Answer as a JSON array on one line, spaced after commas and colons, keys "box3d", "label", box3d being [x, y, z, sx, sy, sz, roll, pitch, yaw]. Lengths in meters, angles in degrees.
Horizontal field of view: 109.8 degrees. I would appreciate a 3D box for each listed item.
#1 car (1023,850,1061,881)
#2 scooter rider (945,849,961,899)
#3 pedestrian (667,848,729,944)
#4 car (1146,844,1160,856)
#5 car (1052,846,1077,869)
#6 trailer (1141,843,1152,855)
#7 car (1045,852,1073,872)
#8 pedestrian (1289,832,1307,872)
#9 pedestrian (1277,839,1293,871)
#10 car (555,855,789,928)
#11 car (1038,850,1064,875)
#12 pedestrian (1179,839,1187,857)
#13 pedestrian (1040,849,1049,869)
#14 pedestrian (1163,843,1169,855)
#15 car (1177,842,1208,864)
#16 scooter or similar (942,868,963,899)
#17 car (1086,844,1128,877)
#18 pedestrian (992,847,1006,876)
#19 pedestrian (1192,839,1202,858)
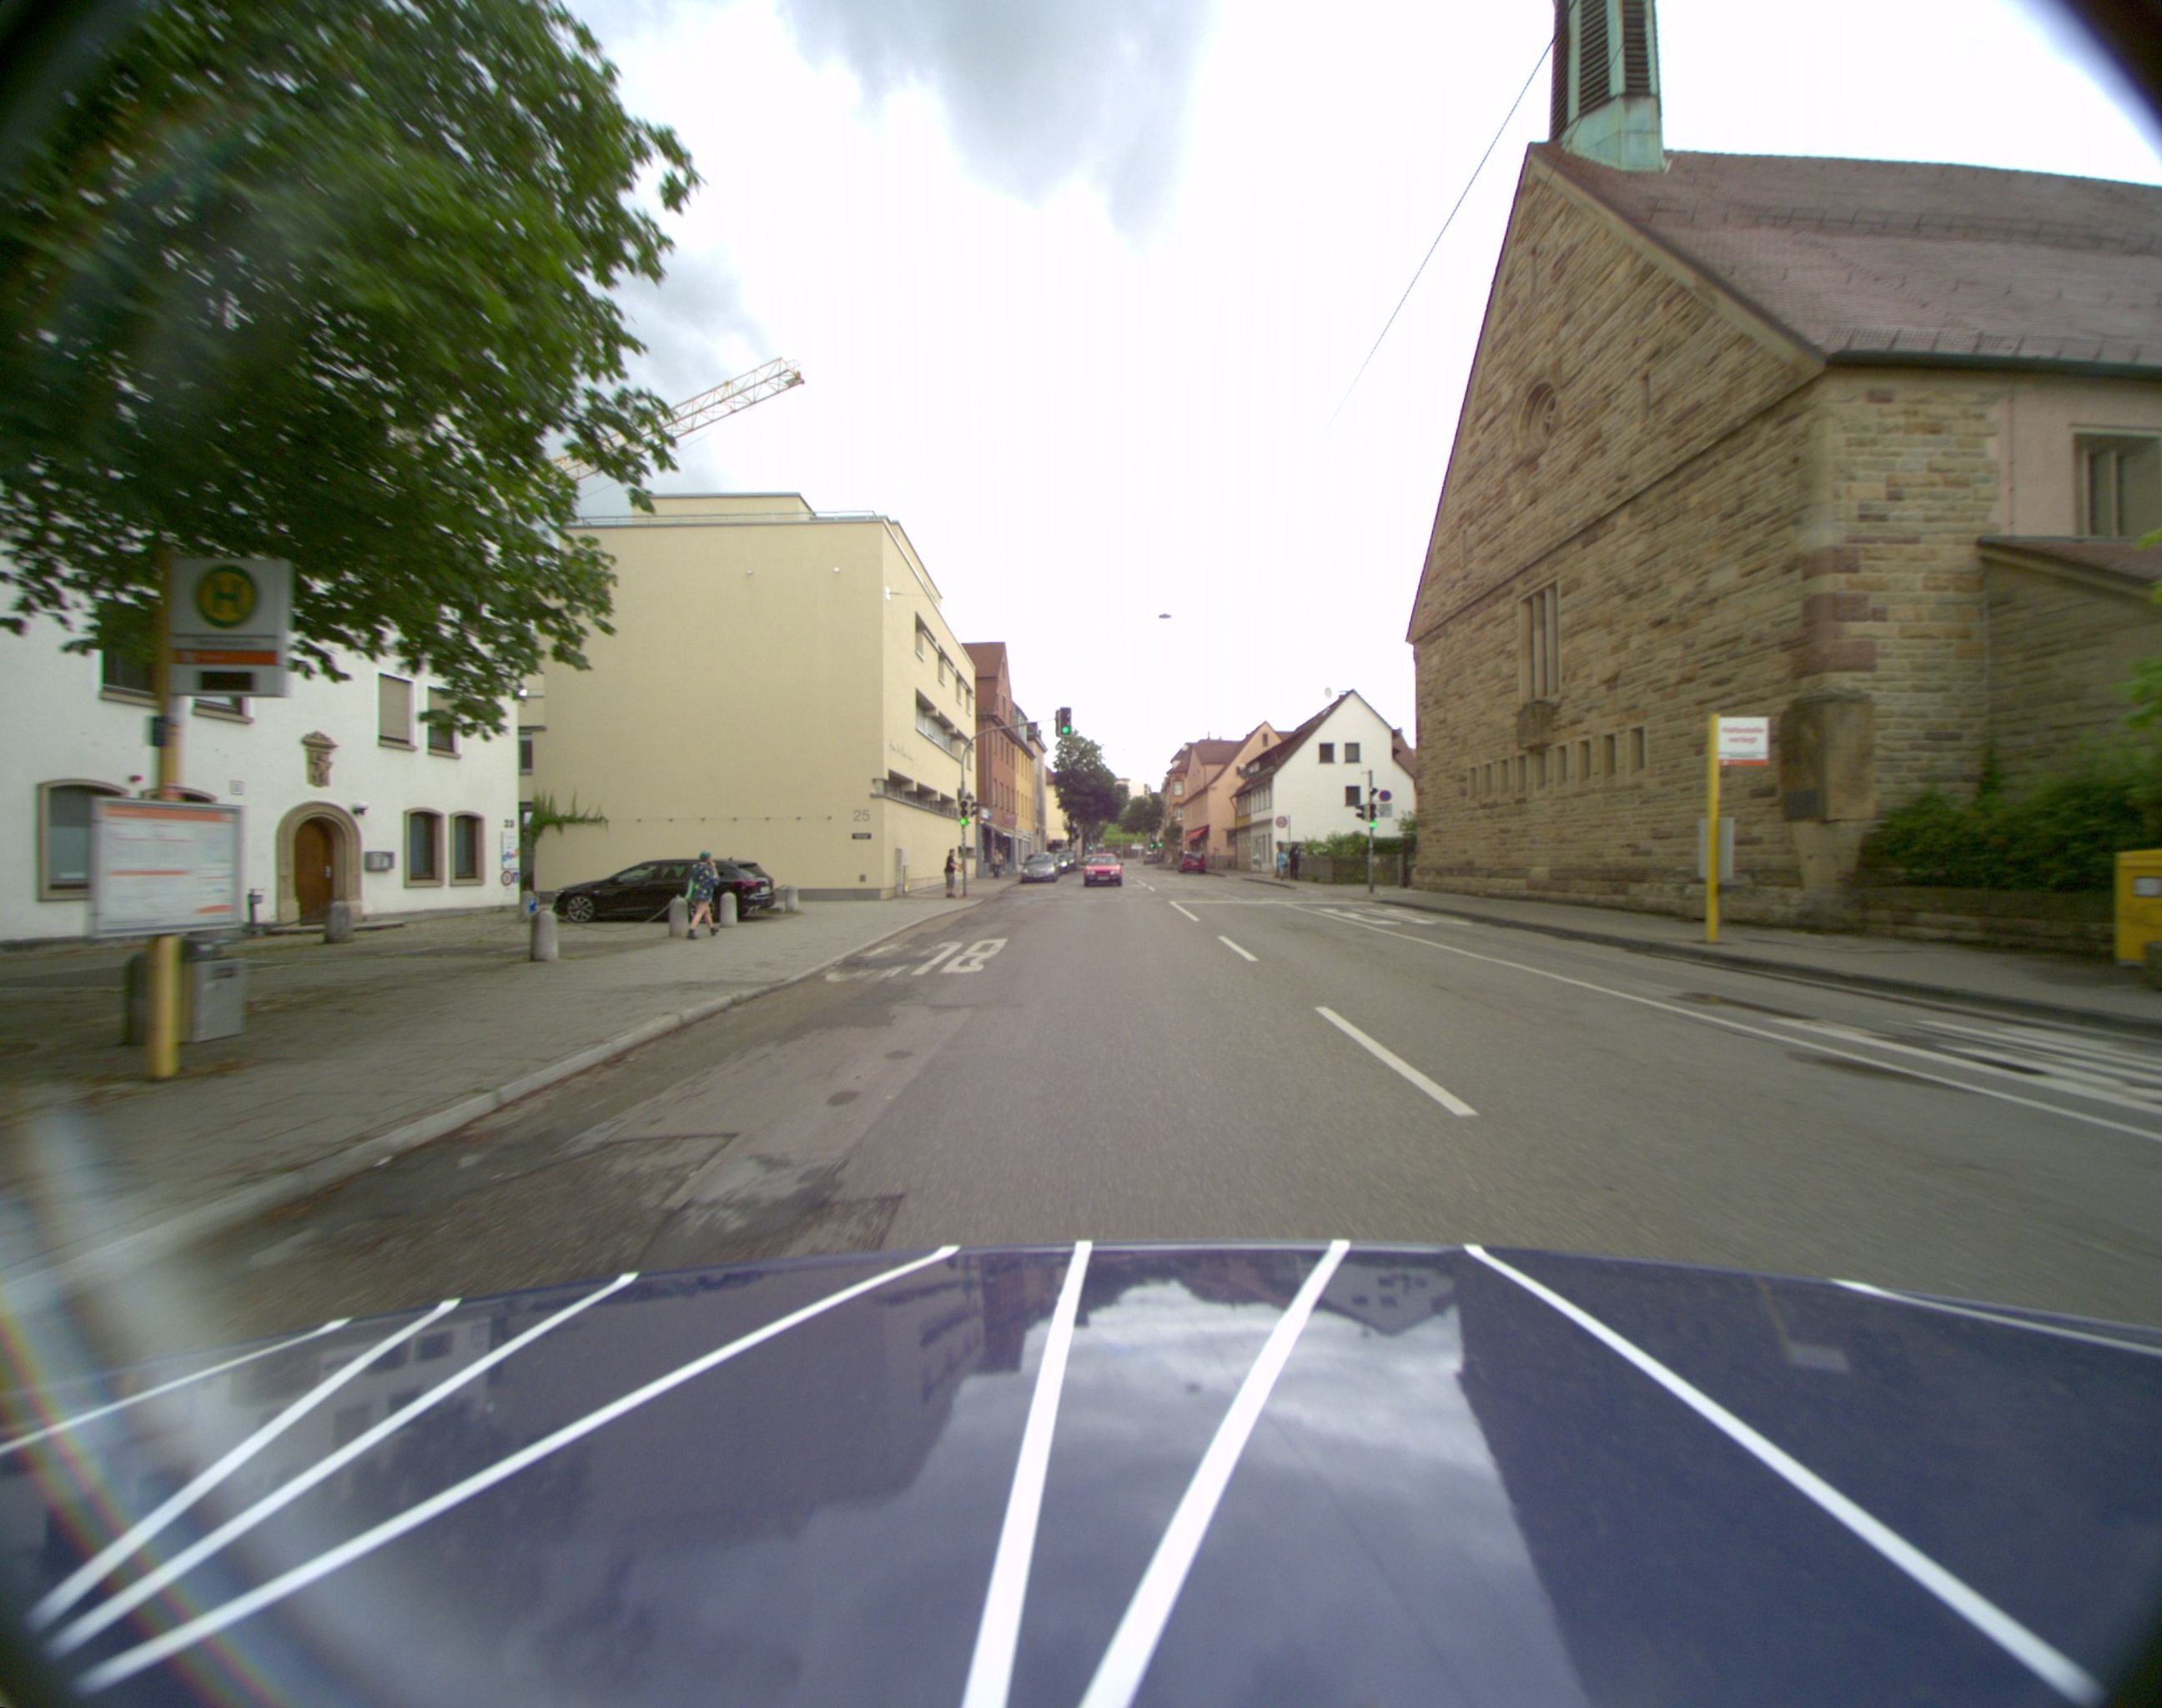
[{"box3d": [-2.039, 0.576, 40.730, 1.716, 1.551, 3.785, -1, 1, 1], "label": "car"}, {"box3d": [-4.238, 0.647, 25.075, 0.454, 1.623, 0.504, 1, 3, -12], "label": "scooter rider"}, {"box3d": [-7.049, 0.758, 14.012, 0.603, 1.706, 0.860, -1, 1, 9], "label": "pedestrian"}, {"box3d": [10.425, -0.607, 110.785, 1.895, 1.702, 4.742, 1, 0, 4], "label": "car"}, {"box3d": [-1.287, 0.269, 61.932, 1.824, 1.771, 4.402, -1, 1, 1], "label": "car"}, {"box3d": [15.260, -1.142, 177.719, 2.450, 2.788, 6.305, 0, 1, 5], "label": "trailer"}, {"box3d": [-1.636, 0.546, 57.278, 1.755, 1.398, 4.511, 0, 1, 3], "label": "car"}, {"box3d": [10.348, -0.095, 36.218, 0.572, 1.837, 0.697, -4, 1, 3], "label": "pedestrian"}, {"box3d": [9.988, 0.035, 37.231, 0.572, 1.545, 0.697, -2, 1, 3], "label": "pedestrian"}, {"box3d": [-9.582, 0.845, 18.064, 4.522, 1.565, 1.852, 0, 2, 0], "label": "car"}, {"box3d": [-1.981, 0.555, 51.214, 1.606, 1.510, 4.208, -2, 1, -1], "label": "car"}, {"box3d": [10.040, -0.625, 74.801, 0.740, 1.744, 0.983, -1, 1, 3], "label": "pedestrian"}, {"box3d": [-3.057, 0.411, 63.057, 0.616, 1.643, 0.983, 2, 1, 2], "label": "pedestrian"}, {"box3d": [13.075, -0.760, 117.429, 0.740, 1.708, 1.156, -1, 1, 0], "label": "pedestrian"}, {"box3d": [8.314, -0.112, 56.933, 1.707, 1.565, 4.450, 1, 1, 1], "label": "car"}, {"box3d": [-4.259, 0.974, 25.157, 0.663, 0.940, 0.819, 1, 3, -9], "label": "scooter or similar"}, {"box3d": [1.209, 0.261, 34.260, 1.626, 1.387, 4.001, -1, 0, 5], "label": "car"}, {"box3d": [-4.614, 0.409, 42.821, 0.702, 1.640, 0.888, 0, 1, 2], "label": "pedestrian"}, {"box3d": [10.669, -0.512, 69.984, 0.732, 1.619, 0.758, -3, 2, -1], "label": "pedestrian"}]
